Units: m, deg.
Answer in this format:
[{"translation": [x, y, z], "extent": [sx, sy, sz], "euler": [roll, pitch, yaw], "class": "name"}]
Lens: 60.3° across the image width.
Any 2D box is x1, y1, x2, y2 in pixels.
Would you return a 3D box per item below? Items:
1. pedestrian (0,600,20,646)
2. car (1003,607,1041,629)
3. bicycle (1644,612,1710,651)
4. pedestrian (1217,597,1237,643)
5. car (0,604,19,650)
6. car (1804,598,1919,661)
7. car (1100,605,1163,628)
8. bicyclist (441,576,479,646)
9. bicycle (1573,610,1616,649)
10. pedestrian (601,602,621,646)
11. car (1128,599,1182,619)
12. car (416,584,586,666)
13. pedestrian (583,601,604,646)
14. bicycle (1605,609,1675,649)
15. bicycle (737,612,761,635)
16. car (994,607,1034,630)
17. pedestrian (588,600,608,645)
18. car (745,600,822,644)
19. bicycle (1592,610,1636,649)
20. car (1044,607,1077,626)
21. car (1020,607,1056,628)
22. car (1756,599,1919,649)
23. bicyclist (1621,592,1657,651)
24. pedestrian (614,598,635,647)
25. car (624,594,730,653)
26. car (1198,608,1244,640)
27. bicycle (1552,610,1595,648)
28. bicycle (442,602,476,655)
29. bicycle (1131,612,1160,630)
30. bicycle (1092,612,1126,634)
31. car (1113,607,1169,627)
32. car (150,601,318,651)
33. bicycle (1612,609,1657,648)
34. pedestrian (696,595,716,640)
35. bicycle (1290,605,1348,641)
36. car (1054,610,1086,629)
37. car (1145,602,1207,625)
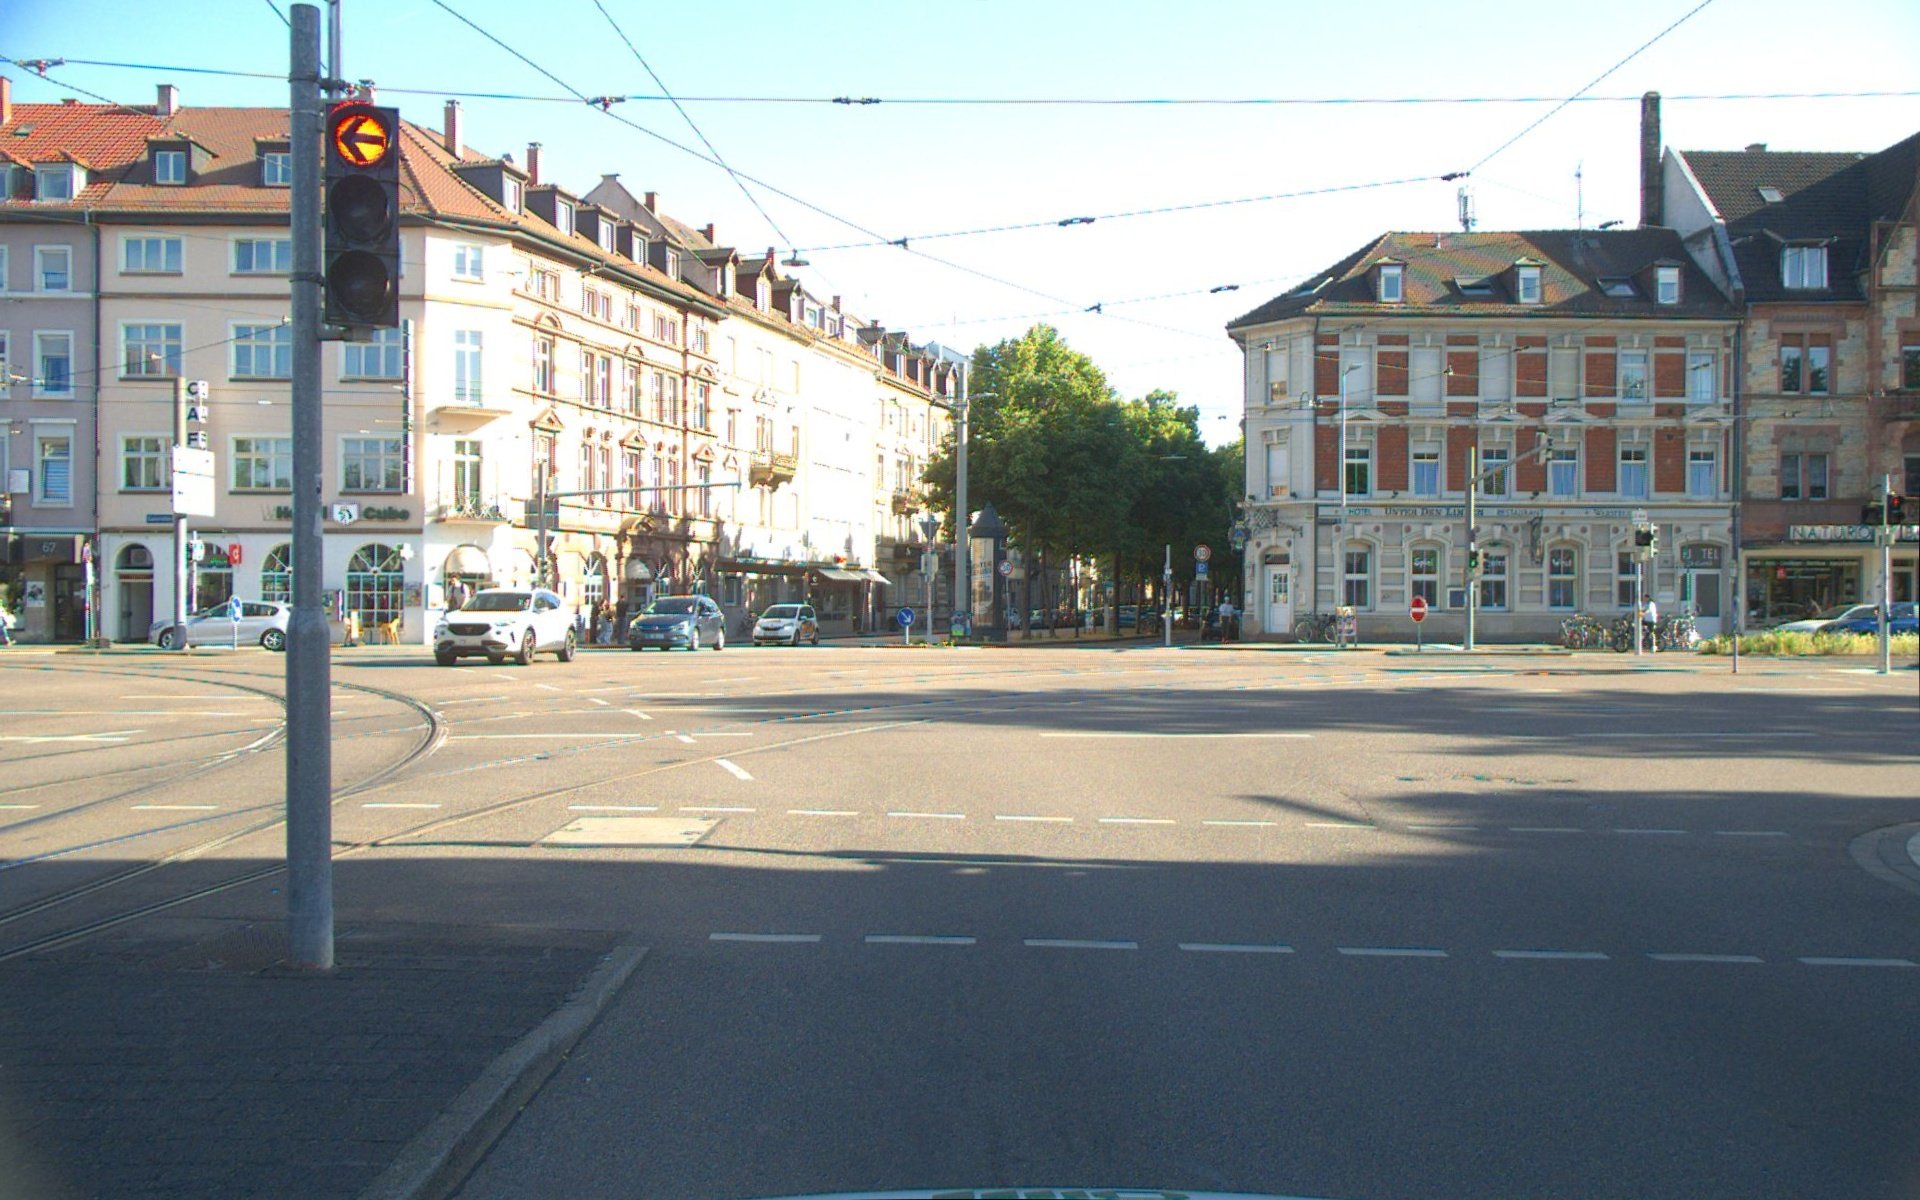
[{"translation": [-32.129, 0.767, 55.681], "extent": [0.645, 1.551, 0.694], "euler": [0, 0, -9], "class": "pedestrian"}, {"translation": [4.440, 1.256, 117.417], "extent": [1.951, 1.523, 4.037], "euler": [0, 0, 13], "class": "car"}, {"translation": [23.035, 0.999, 53.129], "extent": [1.926, 1.211, 0.677], "euler": [0, 0, -13], "class": "bicycle"}, {"translation": [9.945, 0.747, 61.599], "extent": [0.700, 1.698, 0.940], "euler": [0, 0, 11], "class": "pedestrian"}, {"translation": [-32.486, 0.855, 52.154], "extent": [4.547, 1.465, 1.743], "euler": [0, -1, -4], "class": "car"}, {"translation": [25.907, 0.791, 45.959], "extent": [3.906, 1.697, 1.954], "euler": [0, 0, -2], "class": "car"}, {"translation": [12.023, 1.171, 115.838], "extent": [3.910, 1.572, 1.998], "euler": [0, 0, 28], "class": "car"}, {"translation": [-11.537, 0.242, 38.196], "extent": [0.701, 1.587, 0.984], "euler": [0, 0, -9], "class": "bicyclist"}, {"translation": [20.513, 0.952, 53.496], "extent": [0.663, 1.211, 1.967], "euler": [0, 0, 0], "class": "bicycle"}, {"translation": [-13.250, 0.898, 62.776], "extent": [0.539, 1.670, 0.633], "euler": [0, 0, 14], "class": "pedestrian"}, {"translation": [15.852, 0.732, 134.457], "extent": [3.910, 1.572, 1.998], "euler": [0, 0, 28], "class": "car"}, {"translation": [-9.102, 0.461, 33.203], "extent": [1.952, 1.523, 4.349], "euler": [0, 0, 4], "class": "car"}, {"translation": [-13.930, 0.888, 62.946], "extent": [0.613, 1.670, 0.538], "euler": [0, 0, 12], "class": "pedestrian"}, {"translation": [21.054, 0.900, 51.248], "extent": [1.920, 1.211, 0.602], "euler": [0, 0, 2], "class": "bicycle"}, {"translation": [-10.140, 1.124, 79.390], "extent": [0.484, 1.086, 1.771], "euler": [0, 0, 15], "class": "bicycle"}, {"translation": [3.695, 1.224, 112.919], "extent": [1.951, 1.523, 4.037], "euler": [0, 0, 13], "class": "car"}, {"translation": [-13.607, 0.837, 62.193], "extent": [0.539, 1.670, 0.538], "euler": [0, 0, 15], "class": "pedestrian"}, {"translation": [-6.405, 0.786, 60.410], "extent": [1.681, 1.523, 3.586], "euler": [0, 0, 13], "class": "car"}, {"translation": [21.152, 0.934, 53.506], "extent": [0.663, 1.211, 1.967], "euler": [0, 0, 0], "class": "bicycle"}, {"translation": [8.025, 1.311, 131.904], "extent": [1.951, 1.523, 4.037], "euler": [0, 0, 13], "class": "car"}, {"translation": [5.786, 1.305, 122.673], "extent": [1.951, 1.523, 4.037], "euler": [0, 0, 13], "class": "car"}, {"translation": [25.959, 0.702, 48.955], "extent": [3.906, 1.437, 1.845], "euler": [0, 0, -2], "class": "car"}, {"translation": [21.030, 0.657, 51.244], "extent": [0.854, 1.795, 0.602], "euler": [0, 0, 2], "class": "bicyclist"}, {"translation": [-12.897, 0.855, 63.529], "extent": [0.567, 1.868, 0.633], "euler": [0, 0, 15], "class": "pedestrian"}, {"translation": [-7.584, 0.591, 44.779], "extent": [1.736, 1.523, 4.576], "euler": [0, 0, 5], "class": "car"}, {"translation": [13.065, 1.158, 82.605], "extent": [1.951, 1.523, 4.037], "euler": [0, 0, 13], "class": "car"}, {"translation": [19.825, 0.924, 53.459], "extent": [0.663, 1.211, 1.967], "euler": [0, 0, 0], "class": "bicycle"}, {"translation": [-11.581, 0.649, 38.263], "extent": [0.476, 1.186, 2.052], "euler": [0, 0, -9], "class": "bicycle"}, {"translation": [11.155, 1.262, 99.409], "extent": [0.577, 1.086, 1.924], "euler": [0, 0, -37], "class": "bicycle"}, {"translation": [7.459, 1.155, 82.862], "extent": [0.577, 1.086, 1.924], "euler": [0, 0, -37], "class": "bicycle"}, {"translation": [14.060, 1.316, 128.508], "extent": [3.910, 1.572, 1.998], "euler": [0, 0, 28], "class": "car"}, {"translation": [-20.722, 0.716, 47.368], "extent": [4.138, 1.379, 1.992], "euler": [0, 0, -15], "class": "car"}, {"translation": [21.814, 0.918, 53.508], "extent": [0.663, 1.211, 1.967], "euler": [0, 0, 0], "class": "bicycle"}, {"translation": [-11.167, 0.774, 72.783], "extent": [0.667, 1.942, 0.633], "euler": [0, 0, 15], "class": "pedestrian"}, {"translation": [12.450, 0.798, 57.362], "extent": [1.919, 1.211, 0.546], "euler": [0, 0, 4], "class": "bicycle"}, {"translation": [9.104, 1.604, 136.655], "extent": [1.951, 1.523, 4.037], "euler": [0, 0, 13], "class": "car"}, {"translation": [15.247, 0.945, 116.635], "extent": [3.913, 1.572, 1.996], "euler": [0, 0, 30], "class": "car"}]
